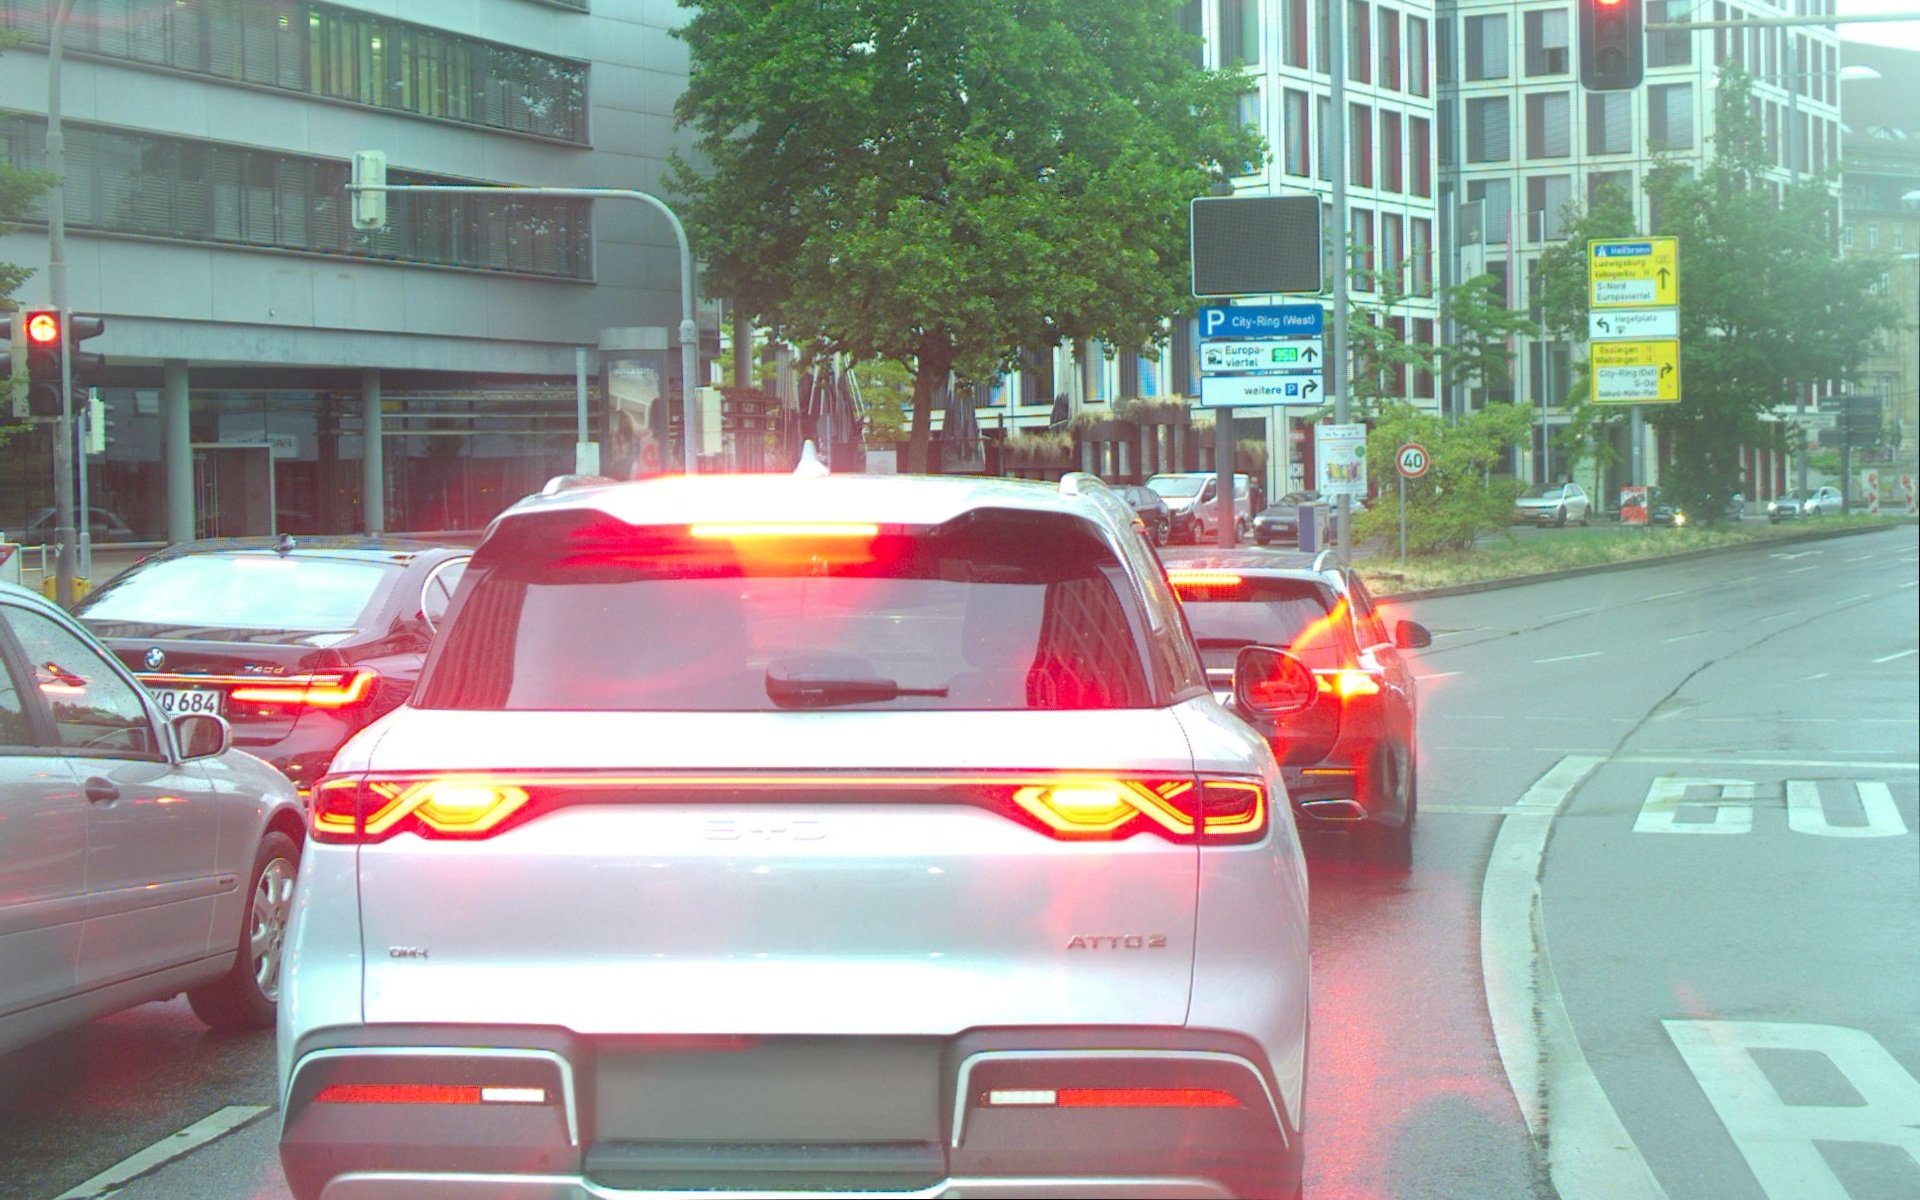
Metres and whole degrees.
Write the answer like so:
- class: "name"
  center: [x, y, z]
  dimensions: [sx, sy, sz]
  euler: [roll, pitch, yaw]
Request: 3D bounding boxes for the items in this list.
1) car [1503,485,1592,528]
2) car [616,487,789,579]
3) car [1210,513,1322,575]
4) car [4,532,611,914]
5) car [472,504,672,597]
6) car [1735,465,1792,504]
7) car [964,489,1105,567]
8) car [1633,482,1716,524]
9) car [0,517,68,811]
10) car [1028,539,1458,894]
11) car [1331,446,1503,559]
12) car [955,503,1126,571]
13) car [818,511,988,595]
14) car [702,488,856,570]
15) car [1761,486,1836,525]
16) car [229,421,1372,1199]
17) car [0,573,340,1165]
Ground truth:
- class: "car"
  center: [21.006, -3.355, 122.793]
  dimensions: [1.996, 1.483, 3.994]
  euler: [0, 2, 27]
- class: "car"
  center: [-4.404, -1.163, 59.480]
  dimensions: [1.645, 1.530, 4.149]
  euler: [1, 1, 16]
- class: "car"
  center: [8.177, -1.506, 91.567]
  dimensions: [1.633, 1.553, 4.588]
  euler: [0, 2, 23]
- class: "car"
  center: [-2.784, 0.463, 15.543]
  dimensions: [1.571, 1.481, 3.999]
  euler: [1, 1, 6]
- class: "car"
  center: [-6.944, -0.913, 61.876]
  dimensions: [1.995, 1.605, 3.996]
  euler: [1, 1, 20]
- class: "car"
  center: [38.220, -5.497, 163.582]
  dimensions: [1.609, 1.735, 3.439]
  euler: [1, 1, 32]
- class: "car"
  center: [1.600, -1.508, 72.162]
  dimensions: [1.645, 1.575, 4.081]
  euler: [1, 1, 21]
- class: "car"
  center: [26.379, -3.580, 126.768]
  dimensions: [1.996, 1.483, 3.994]
  euler: [0, 2, 27]
- class: "car"
  center: [-5.867, 0.320, 16.276]
  dimensions: [1.707, 1.481, 3.998]
  euler: [1, 1, 9]
- class: "car"
  center: [1.482, 0.475, 16.639]
  dimensions: [1.694, 1.481, 3.998]
  euler: [1, 1, 10]
- class: "car"
  center: [8.678, -1.808, 64.931]
  dimensions: [1.996, 2.007, 4.843]
  euler: [1, 1, 23]
- class: "car"
  center: [1.920, -1.494, 80.180]
  dimensions: [1.816, 1.505, 5.188]
  euler: [1, 2, 29]
- class: "car"
  center: [-0.937, -0.788, 58.934]
  dimensions: [1.692, 1.380, 3.865]
  euler: [1, 1, 19]
- class: "car"
  center: [-3.600, -1.405, 69.047]
  dimensions: [1.640, 1.565, 3.714]
  euler: [1, 1, 22]
- class: "car"
  center: [33.237, -3.753, 136.239]
  dimensions: [1.996, 1.483, 3.994]
  euler: [0, 2, 27]
- class: "car"
  center: [-0.204, 0.547, 7.374]
  dimensions: [1.776, 1.673, 4.000]
  euler: [1, 1, 2]
- class: "car"
  center: [-2.999, 0.637, 8.882]
  dimensions: [1.571, 1.402, 4.108]
  euler: [1, 1, 7]
